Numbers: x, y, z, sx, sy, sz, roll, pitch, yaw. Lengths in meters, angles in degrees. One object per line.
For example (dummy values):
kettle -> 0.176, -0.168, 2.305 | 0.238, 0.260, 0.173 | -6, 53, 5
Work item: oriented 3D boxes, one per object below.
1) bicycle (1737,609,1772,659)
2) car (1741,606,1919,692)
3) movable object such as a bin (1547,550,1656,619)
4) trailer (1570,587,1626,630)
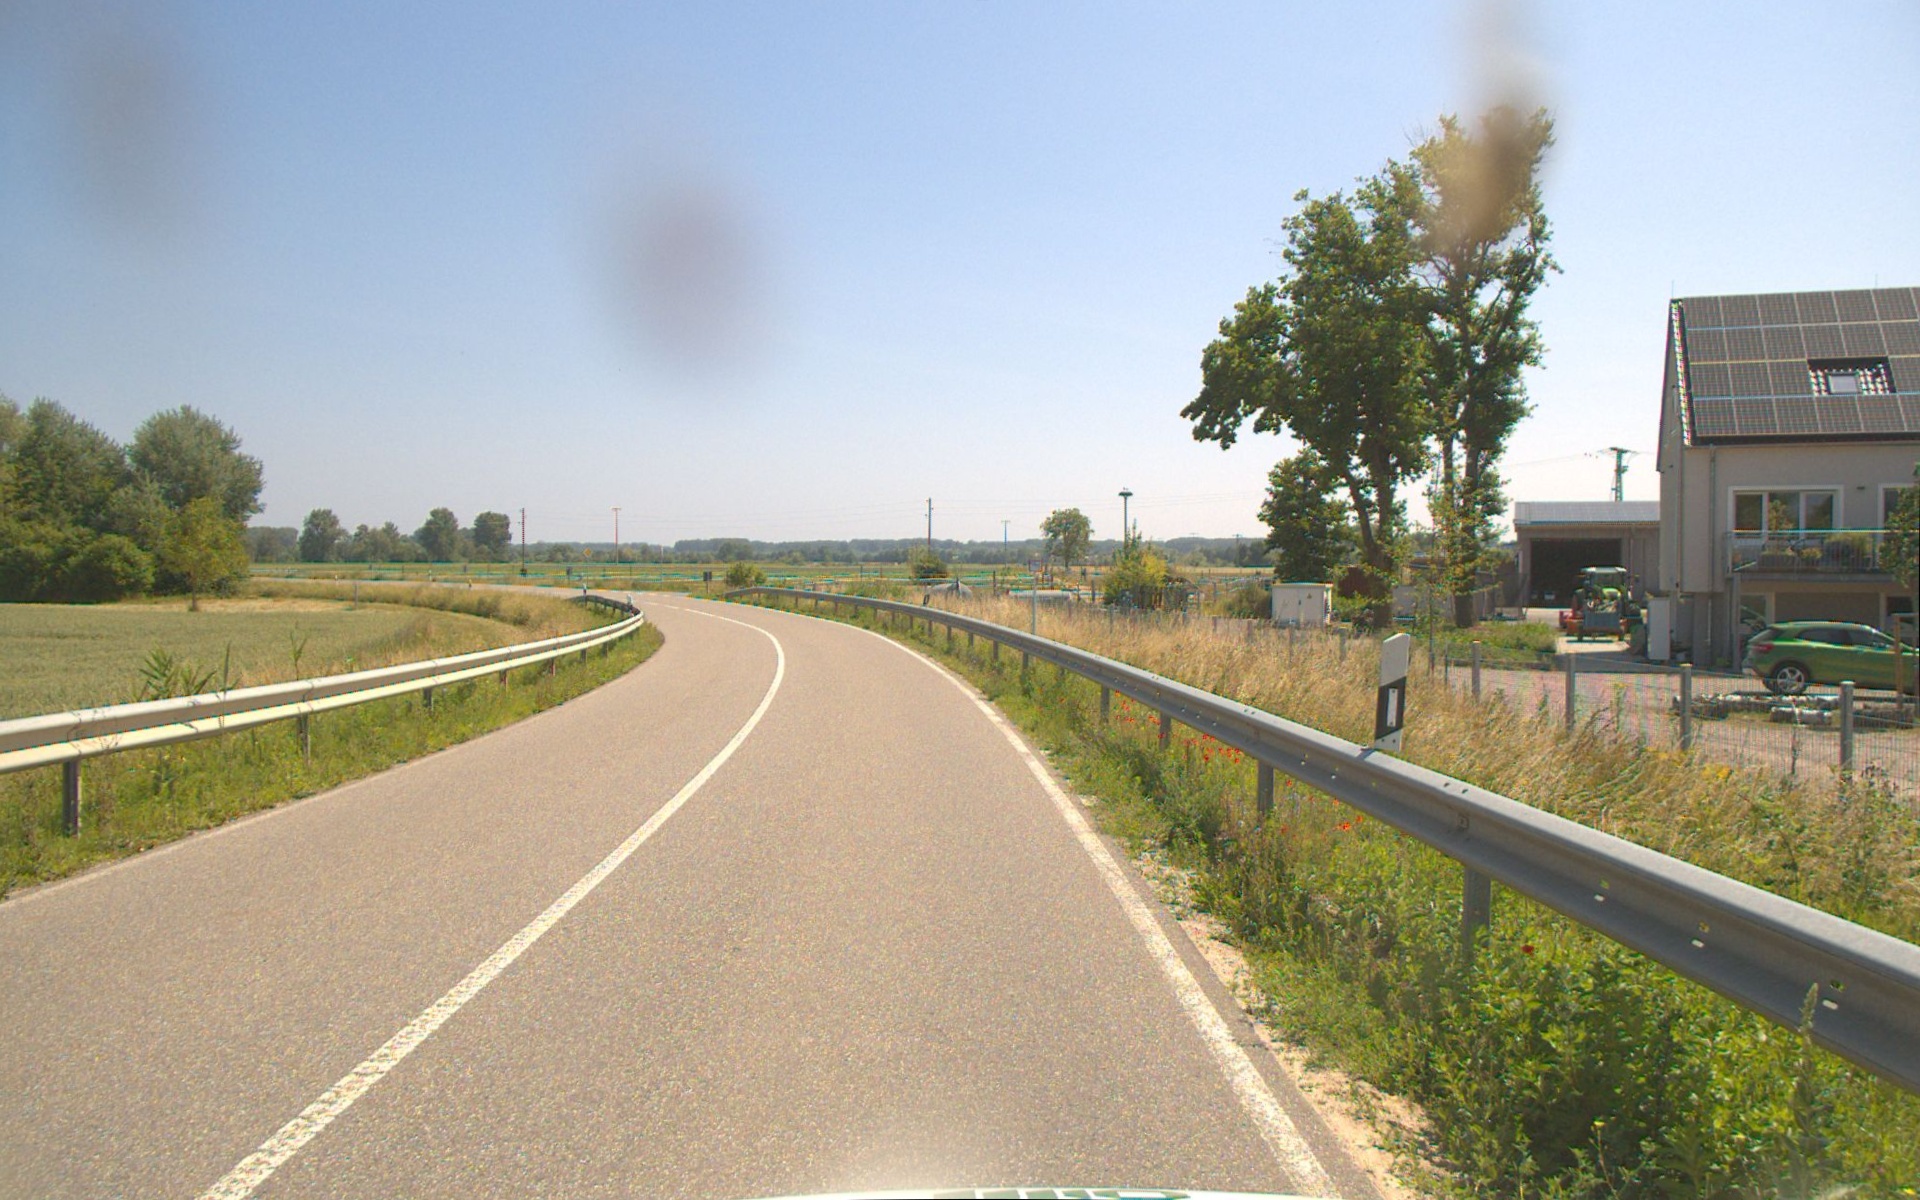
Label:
bicycle -> 20.699, 0.881, 43.129 | 0.698, 1.212, 1.970 | 0, 1, 22
car -> 18.688, 1.010, 34.337 | 4.270, 1.608, 1.934 | 2, 0, 21
movable object such as a bin -> 28.035, -0.737, 72.563 | 2.938, 2.818, 6.511 | 2, 2, 7
trailer -> 23.570, 0.313, 61.029 | 1.677, 1.522, 3.138 | 1, -1, 25
